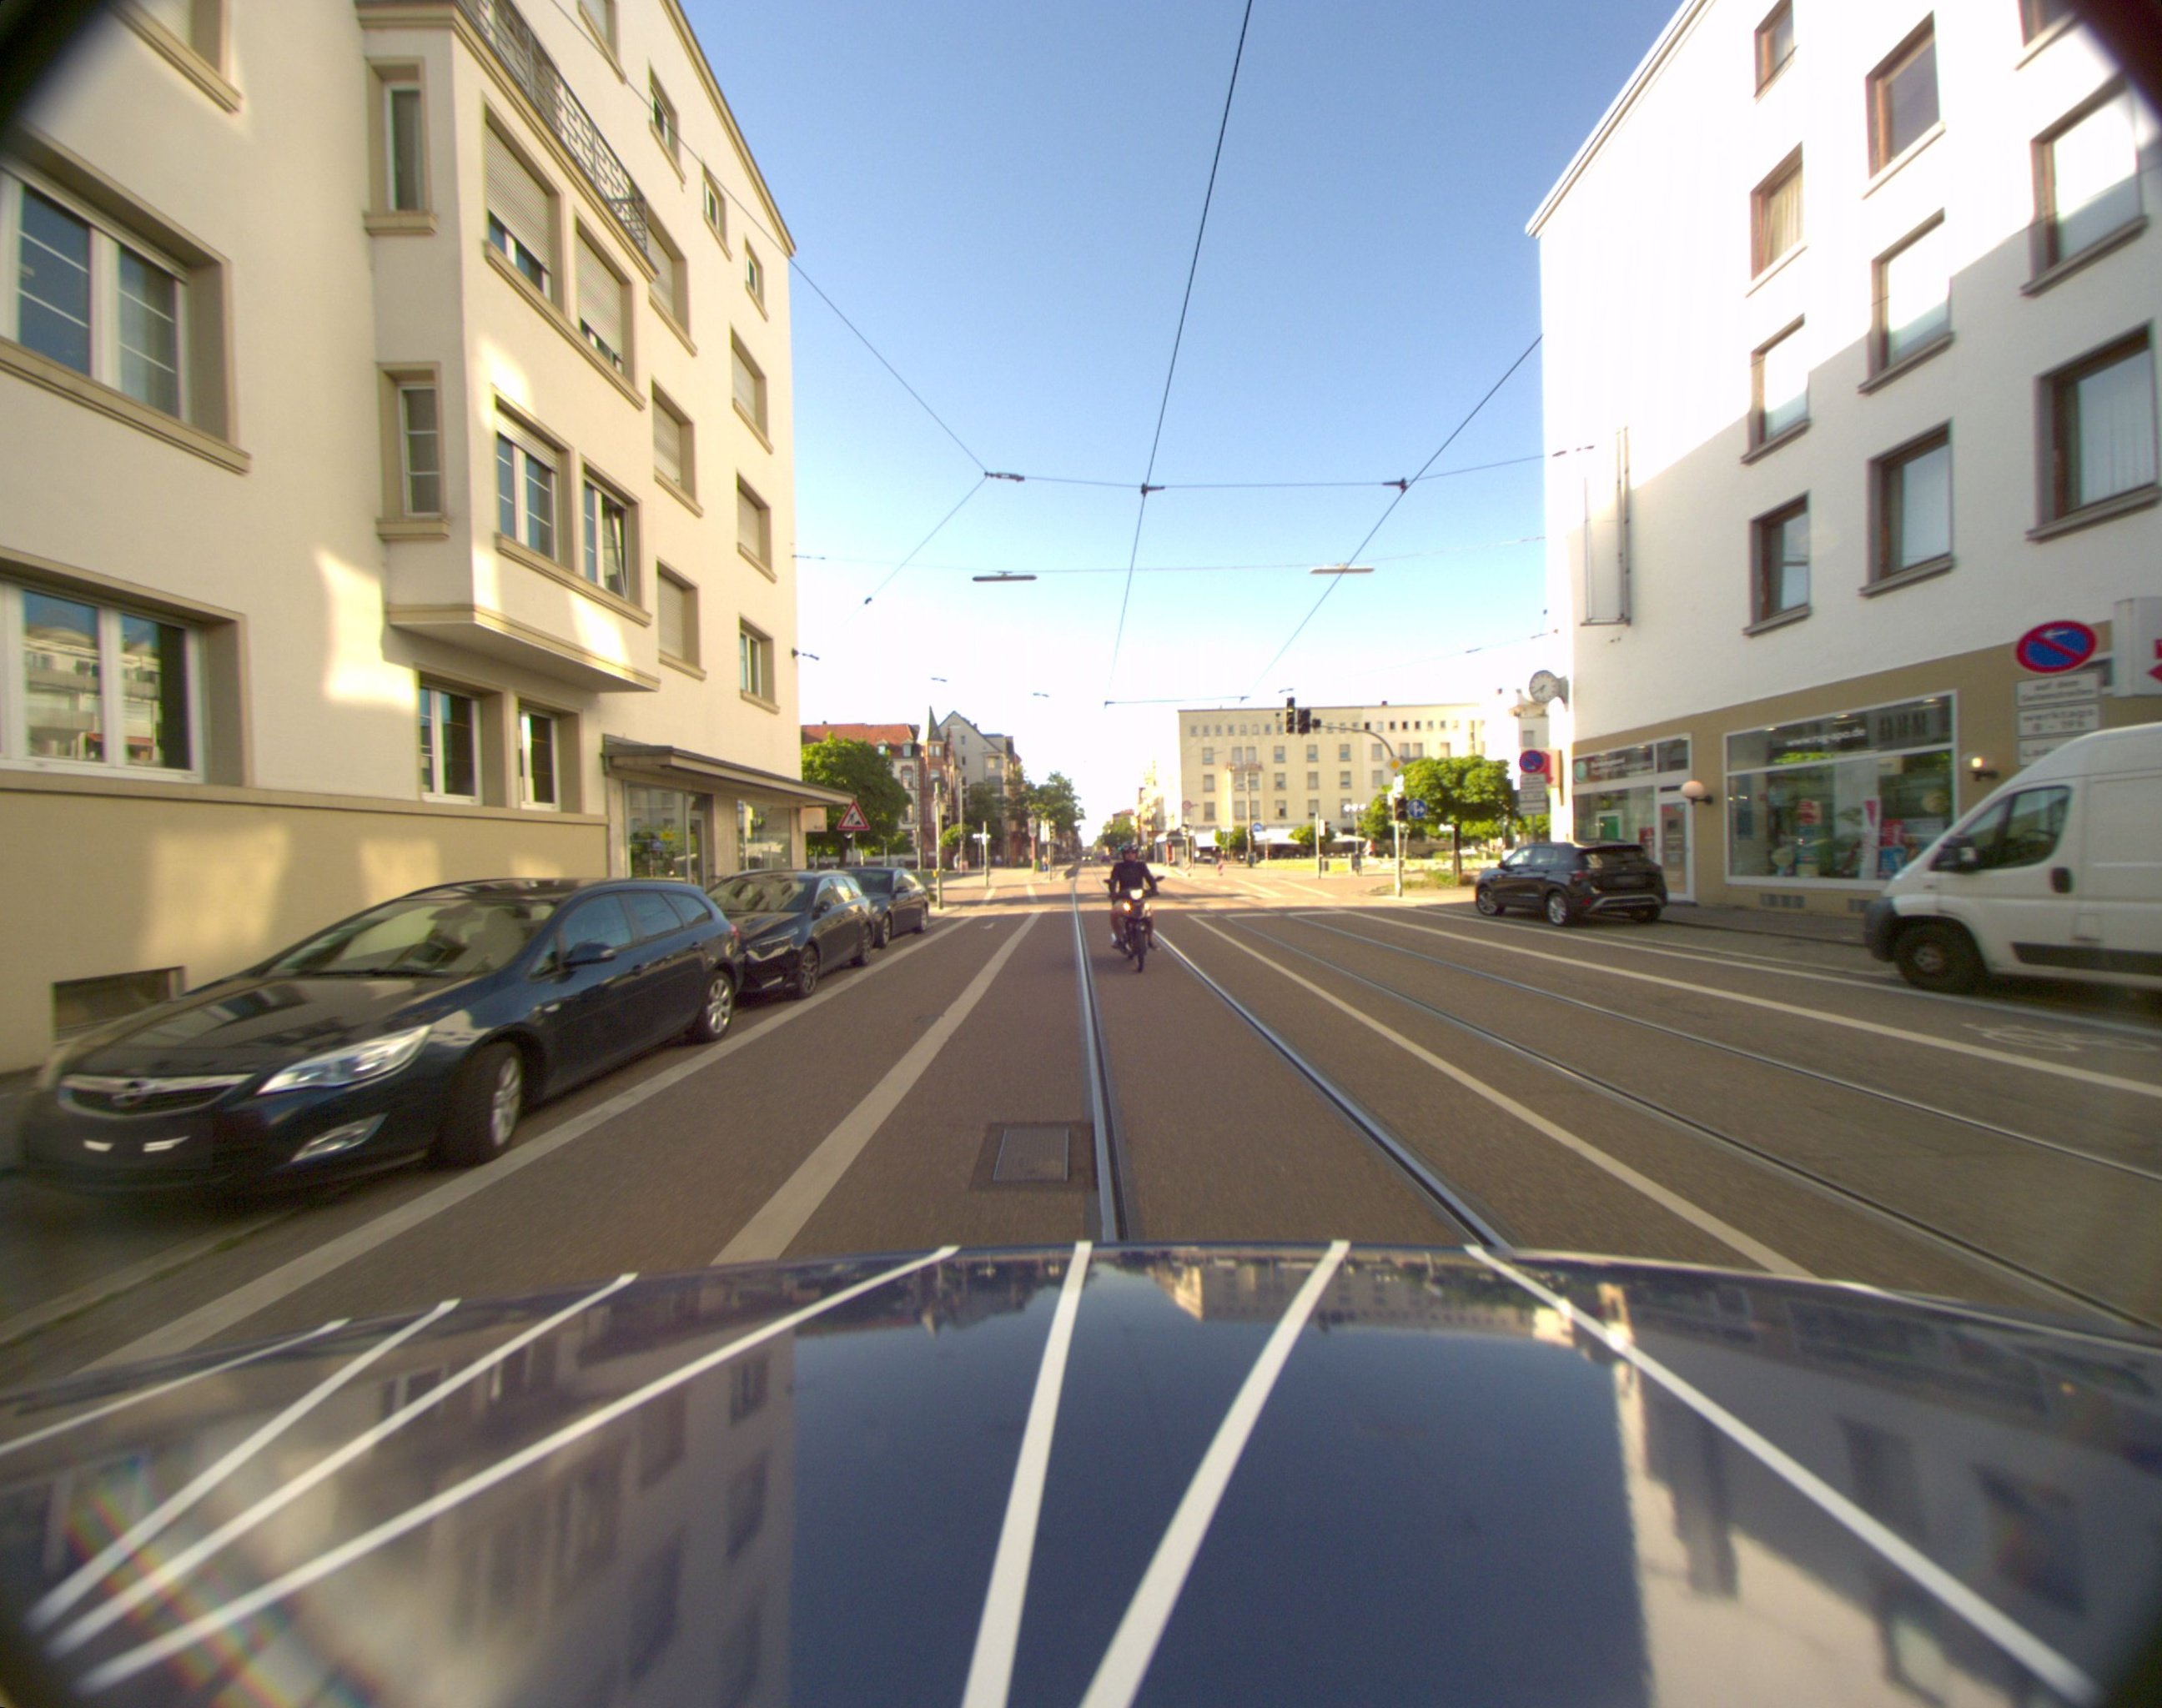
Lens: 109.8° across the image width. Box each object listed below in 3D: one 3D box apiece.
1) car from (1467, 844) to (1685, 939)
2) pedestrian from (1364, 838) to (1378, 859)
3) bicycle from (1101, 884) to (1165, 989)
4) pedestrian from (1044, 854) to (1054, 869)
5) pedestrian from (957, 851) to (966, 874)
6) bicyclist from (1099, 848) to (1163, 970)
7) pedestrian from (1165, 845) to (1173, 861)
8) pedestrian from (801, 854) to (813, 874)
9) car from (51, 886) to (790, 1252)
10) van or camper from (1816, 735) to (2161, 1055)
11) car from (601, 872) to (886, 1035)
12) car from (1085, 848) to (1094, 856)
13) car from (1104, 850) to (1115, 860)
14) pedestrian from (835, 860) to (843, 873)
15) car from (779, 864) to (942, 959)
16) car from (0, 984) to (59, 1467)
[{"bbox_3d":[9.564,0.625,15.120,1.787,1.543,3.992,-3,1,2],"label":"car"},{"bbox_3d":[22.918,-0.420,60.013,0.837,1.686,0.669,0,1,45],"label":"pedestrian"},{"bbox_3d":[0.684,1.059,10.260,0.767,1.192,1.752,-1,1,3],"label":"bicycle"},{"bbox_3d":[-2.688,0.608,63.527,0.774,1.197,0.610,-2,1,-8],"label":"pedestrian"},{"bbox_3d":[-10.312,0.715,65.629,0.650,1.944,0.583,-2,1,-16],"label":"pedestrian"},{"bbox_3d":[0.652,0.702,10.158,0.774,1.531,0.939,-1,1,2],"label":"bicyclist"},{"bbox_3d":[8.132,-0.092,70.397,0.551,1.482,0.610,-1,1,-6],"label":"pedestrian"},{"bbox_3d":[-22.267,0.829,61.757,0.650,1.592,0.700,-2,1,-35],"label":"pedestrian"},{"bbox_3d":[-3.964,1.113,5.688,1.861,1.499,4.095,1,1,2],"label":"car"},{"bbox_3d":[9.329,0.263,5.356,2.177,2.453,6.231,-3,1,0],"label":"van or camper"},{"bbox_3d":[-4.061,1.089,10.093,1.862,1.499,4.505,1,1,-2],"label":"car"},{"bbox_3d":[1.828,-0.432,167.294,1.970,1.577,4.000,-2,1,1],"label":"car"},{"bbox_3d":[5.172,0.167,137.691,1.970,1.577,4.000,-2,1,3],"label":"car"},{"bbox_3d":[-20.622,1.069,64.697,0.453,1.076,0.449,-2,1,-39],"label":"pedestrian"},{"bbox_3d":[-4.268,1.030,15.606,1.752,1.499,4.919,1,1,2],"label":"car"},{"bbox_3d":[-4.301,1.153,0.485,1.861,1.464,3.988,1,1,2],"label":"car"}]
